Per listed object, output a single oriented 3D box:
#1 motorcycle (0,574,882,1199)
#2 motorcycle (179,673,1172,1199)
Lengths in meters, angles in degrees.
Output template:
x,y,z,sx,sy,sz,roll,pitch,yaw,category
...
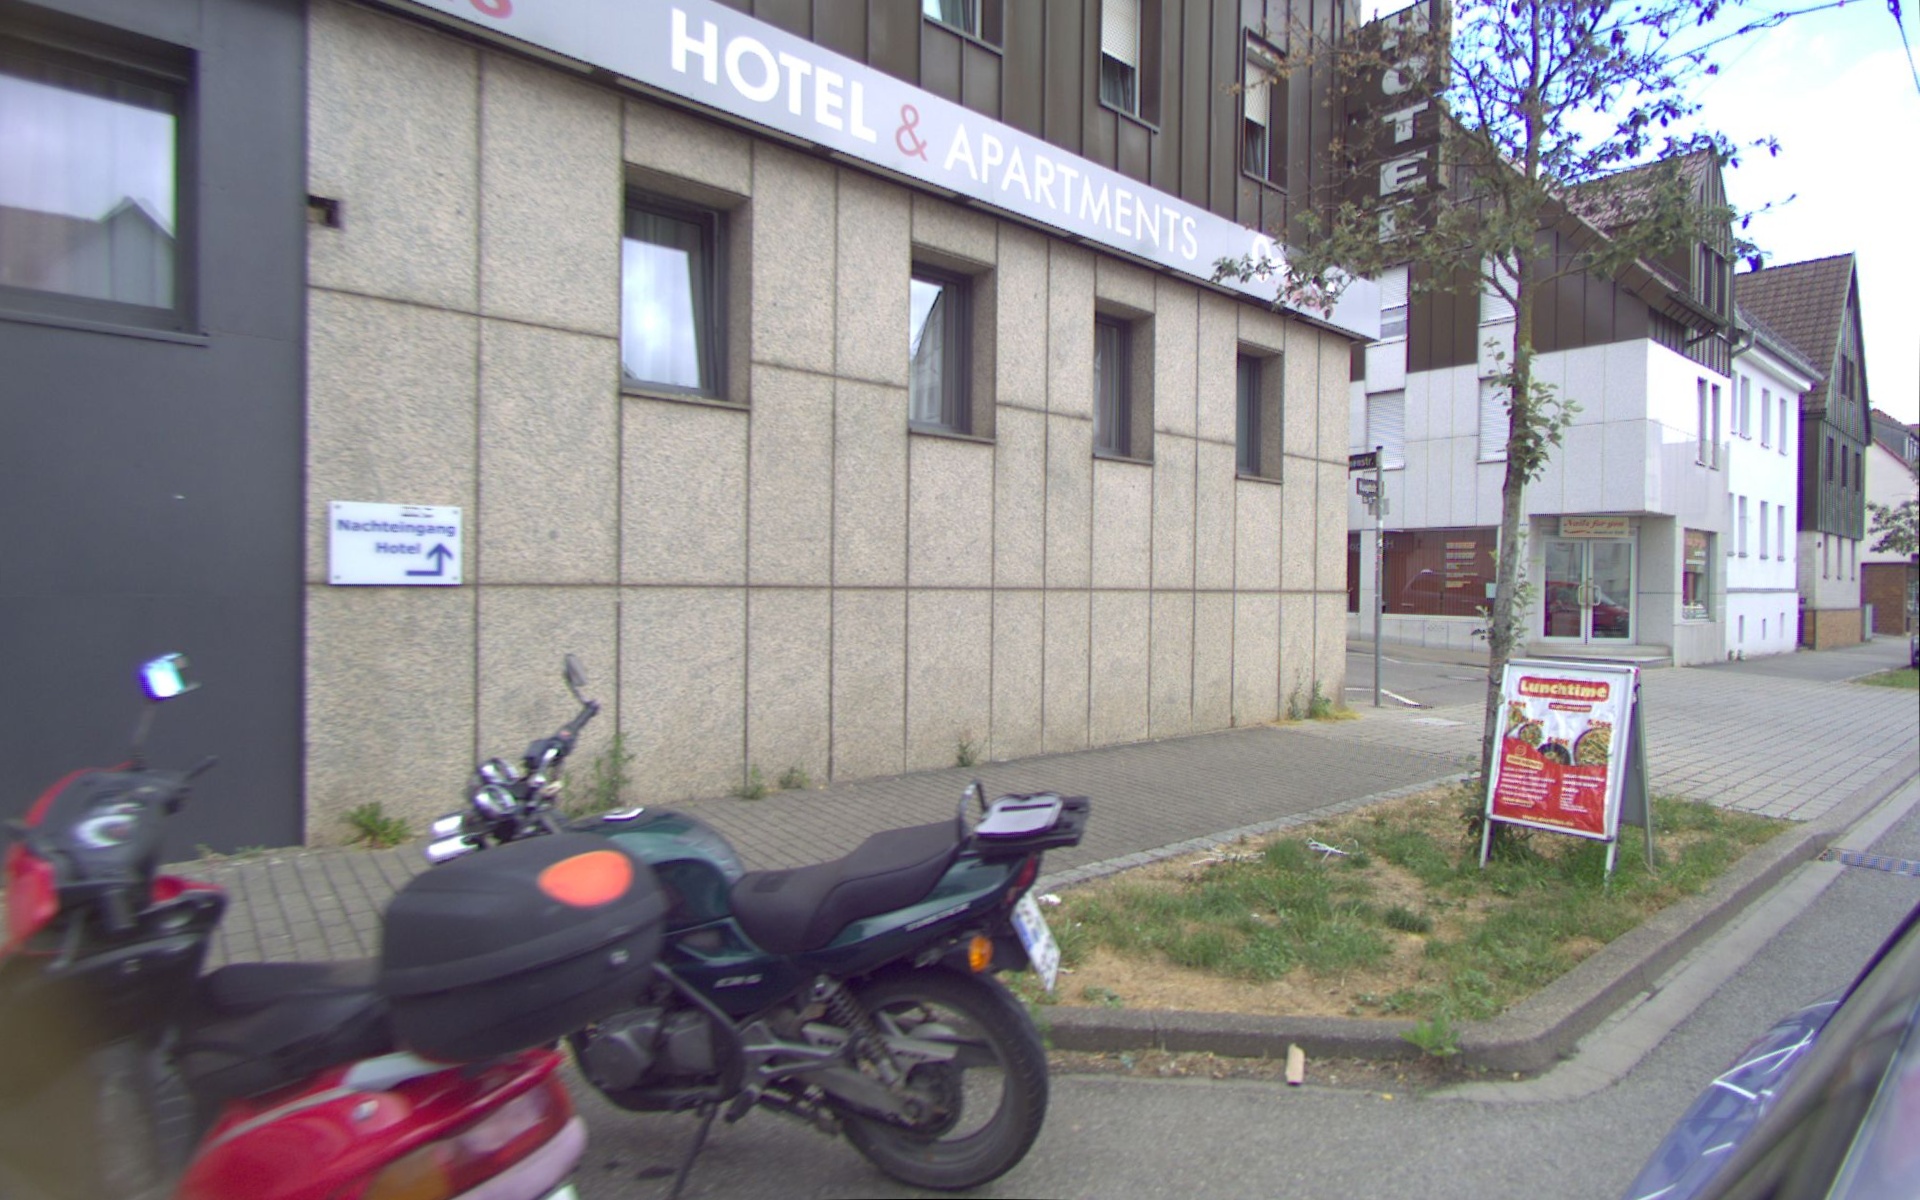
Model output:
x,y,z,sx,sy,sz,roll,pitch,yaw,category
-1.510,0.649,1.930,2.682,1.353,0.695,0,0,20,motorcycle
-0.842,0.852,2.735,2.703,1.198,0.695,0,0,20,motorcycle
